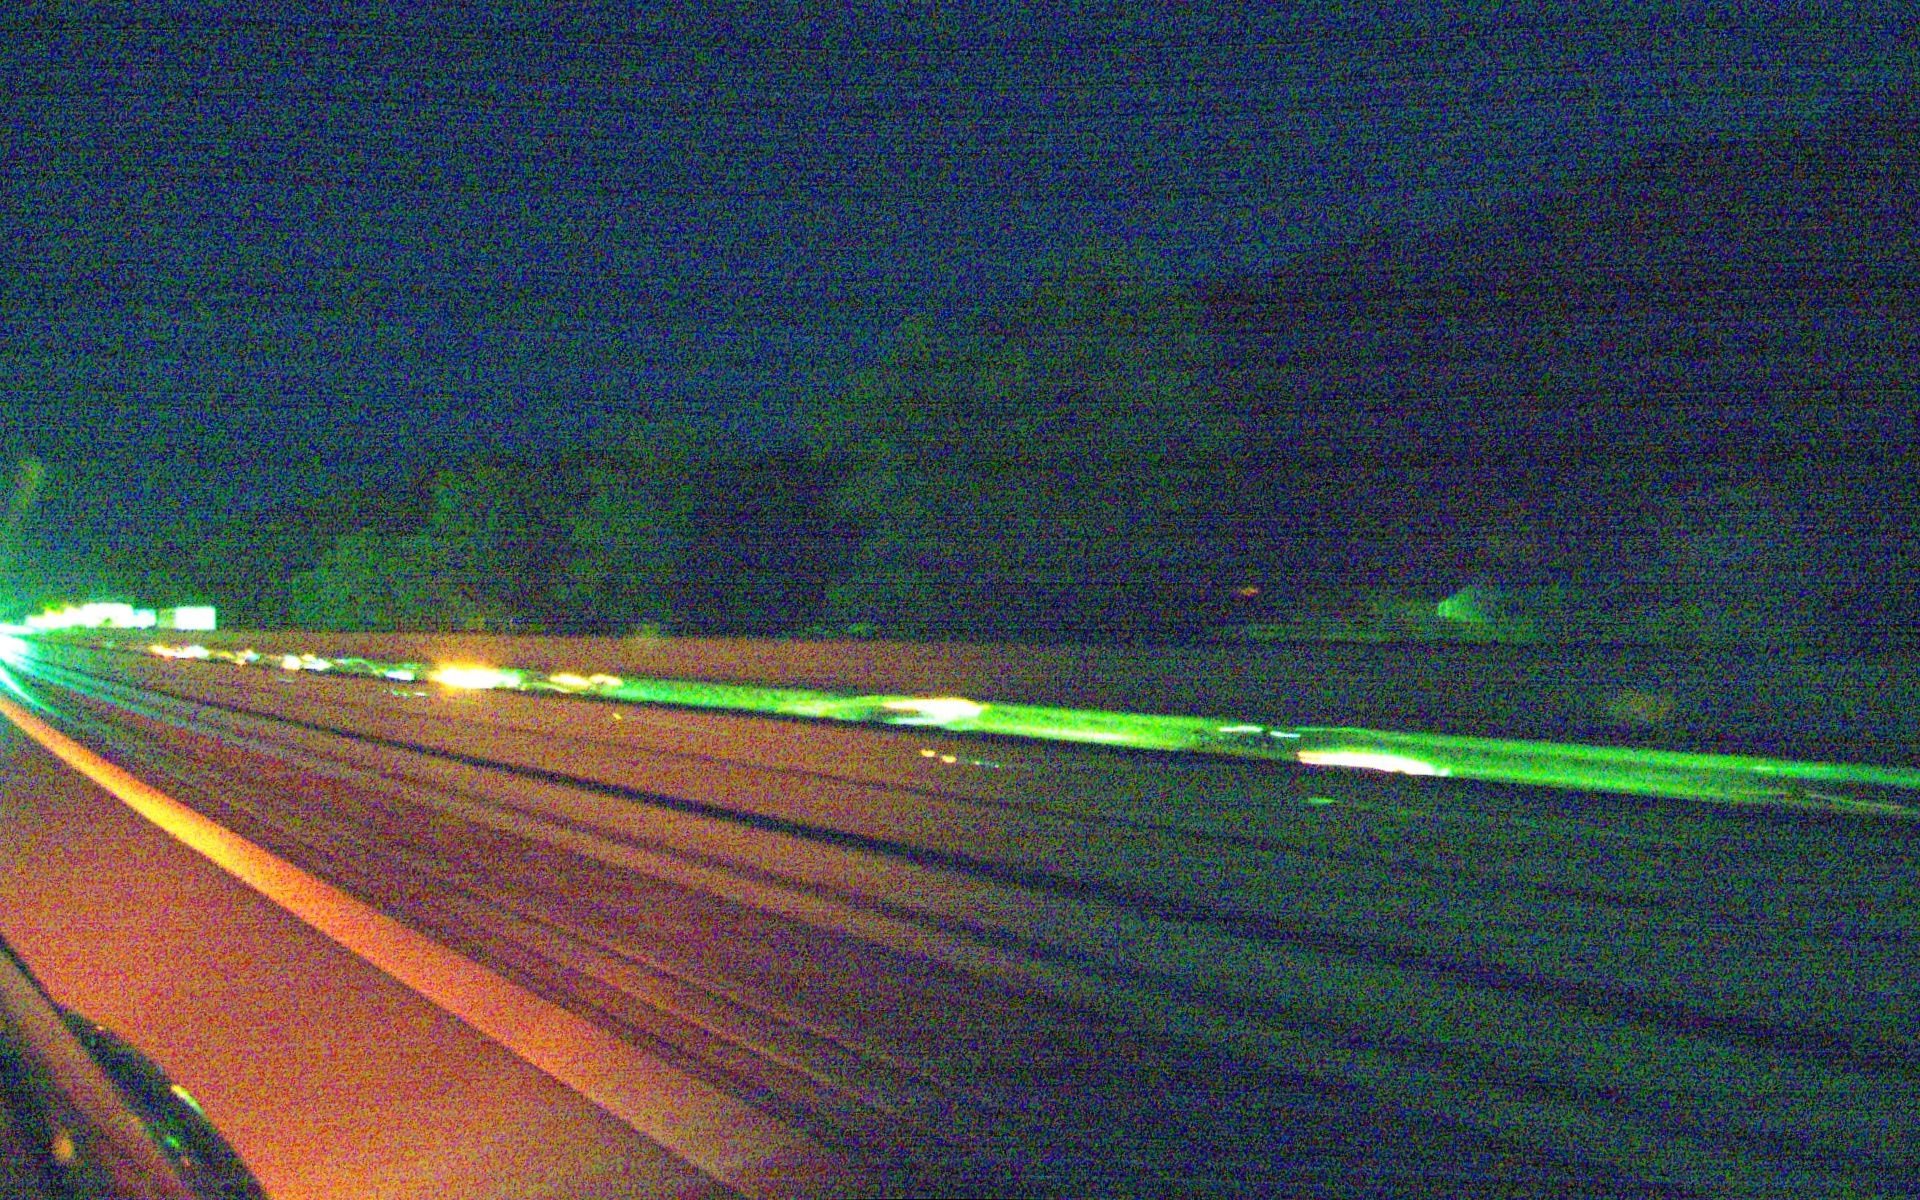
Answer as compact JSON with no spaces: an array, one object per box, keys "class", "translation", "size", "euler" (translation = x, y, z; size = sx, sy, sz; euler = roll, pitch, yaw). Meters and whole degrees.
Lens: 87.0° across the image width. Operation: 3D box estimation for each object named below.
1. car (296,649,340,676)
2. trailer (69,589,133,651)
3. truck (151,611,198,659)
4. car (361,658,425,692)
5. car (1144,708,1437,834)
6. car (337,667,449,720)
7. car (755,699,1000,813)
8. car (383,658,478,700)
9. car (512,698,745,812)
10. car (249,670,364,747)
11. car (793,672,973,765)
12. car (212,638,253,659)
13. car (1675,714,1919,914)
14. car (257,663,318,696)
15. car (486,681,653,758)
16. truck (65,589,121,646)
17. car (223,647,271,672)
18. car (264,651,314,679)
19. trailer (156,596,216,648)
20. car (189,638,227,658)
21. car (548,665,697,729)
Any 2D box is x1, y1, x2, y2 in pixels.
[{"class":"car","translation":[-35.878,3.464,56.489],"size":[1.684,1.387,4.008],"euler":[1,-2,-38]},{"class":"trailer","translation":[-56.015,1.249,65.899],"size":[2.505,3.741,10.135],"euler":[-2,1,-44]},{"class":"truck","translation":[-75.829,3.329,97.689],"size":[3.050,4.348,6.290],"euler":[-2,1,-42]},{"class":"car","translation":[-26.770,3.534,47.744],"size":[1.677,1.409,4.004],"euler":[7,-6,-42]},{"class":"car","translation":[5.101,2.555,15.869],"size":[3.997,1.469,1.804],"euler":[-2,-4,40]},{"class":"car","translation":[-19.351,3.130,34.476],"size":[4.709,1.464,1.883],"euler":[-2,-1,41]},{"class":"car","translation":[-1.465,2.537,17.205],"size":[3.995,1.469,1.805],"euler":[-1,-3,38]},{"class":"car","translation":[-21.740,3.190,41.449],"size":[4.709,1.464,1.883],"euler":[-2,-1,41]},{"class":"car","translation":[-5.789,2.564,17.463],"size":[4.274,1.480,1.798],"euler":[-2,-3,39]},{"class":"car","translation":[-18.136,2.927,28.011],"size":[4.000,1.872,1.713],"euler":[-2,-4,44]},{"class":"car","translation":[-1.800,2.605,23.008],"size":[3.996,1.729,1.735],"euler":[-2,-1,40]},{"class":"car","translation":[-56.320,3.695,78.304],"size":[1.970,1.502,4.406],"euler":[0,-1,-44]},{"class":"car","translation":[9.999,2.205,10.528],"size":[3.998,1.729,1.930],"euler":[-2,-3,41]},{"class":"car","translation":[-30.721,3.602,46.191],"size":[1.698,1.313,4.005],"euler":[2,-3,-42]},{"class":"car","translation":[-9.692,2.847,24.942],"size":[4.709,1.464,1.883],"euler":[-2,-1,41]},{"class":"truck","translation":[-60.782,1.200,70.924],"size":[2.573,3.771,6.762],"euler":[-2,1,-43]},{"class":"car","translation":[-47.739,3.934,67.718],"size":[1.970,1.502,4.406],"euler":[1,-2,-44]},{"class":"car","translation":[-41.525,3.975,62.588],"size":[1.969,1.560,4.144],"euler":[0,-1,-42]},{"class":"trailer","translation":[-71.395,1.944,93.142],"size":[3.110,4.348,14.829],"euler":[-2,1,-42]},{"class":"car","translation":[-62.121,3.933,83.524],"size":[1.970,1.502,4.406],"euler":[0,-1,-44]},{"class":"car","translation":[-10.485,2.919,31.275],"size":[4.915,1.647,2.054],"euler":[-1,-1,39]}]
